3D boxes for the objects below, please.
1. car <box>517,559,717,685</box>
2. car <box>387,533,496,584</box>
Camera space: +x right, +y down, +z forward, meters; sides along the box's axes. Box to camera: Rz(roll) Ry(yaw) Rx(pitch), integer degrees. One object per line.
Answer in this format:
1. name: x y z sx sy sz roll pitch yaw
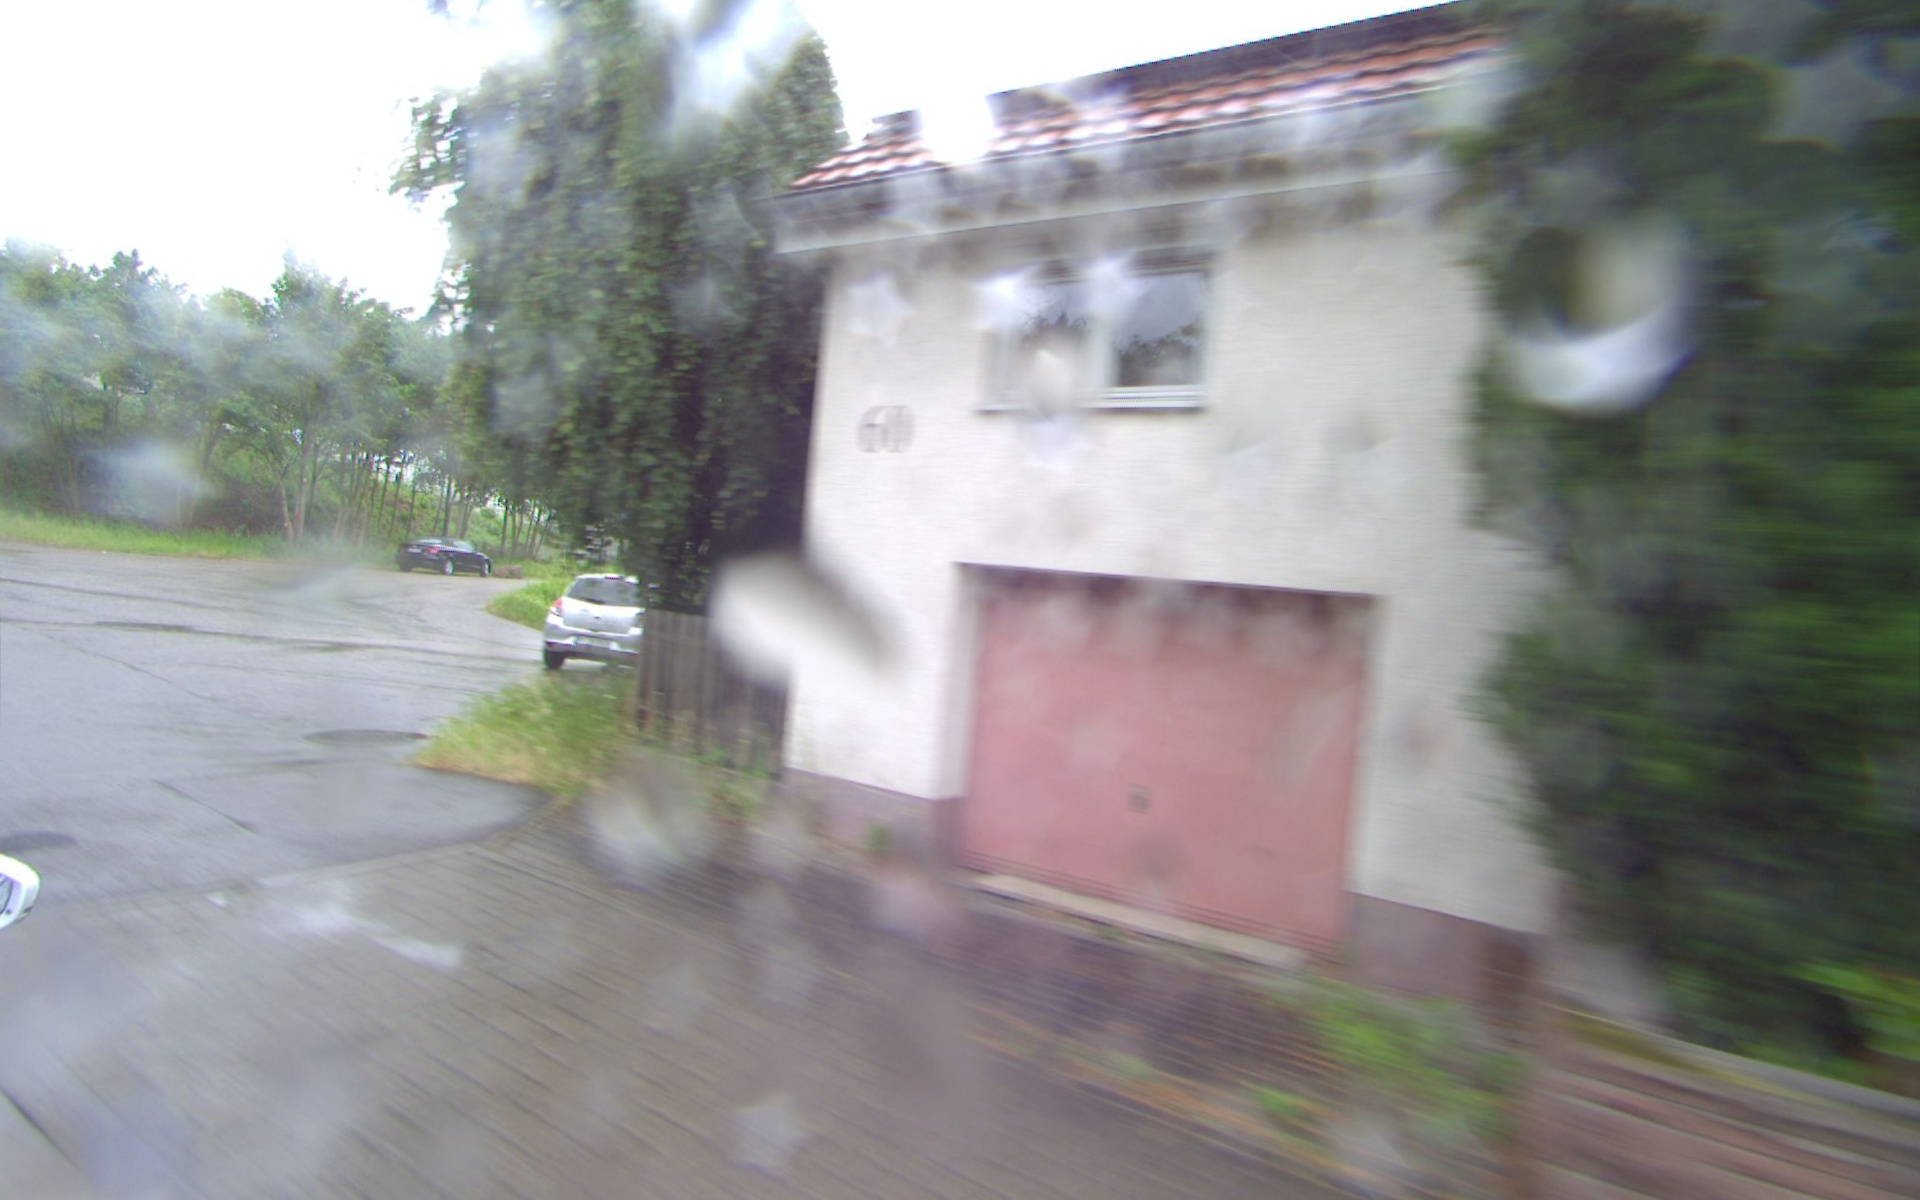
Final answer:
1. car: -5.256 0.369 15.973 1.687 1.549 3.858 7 -2 0
2. car: -19.189 -1.497 37.419 1.870 1.375 4.112 7 -2 -2
